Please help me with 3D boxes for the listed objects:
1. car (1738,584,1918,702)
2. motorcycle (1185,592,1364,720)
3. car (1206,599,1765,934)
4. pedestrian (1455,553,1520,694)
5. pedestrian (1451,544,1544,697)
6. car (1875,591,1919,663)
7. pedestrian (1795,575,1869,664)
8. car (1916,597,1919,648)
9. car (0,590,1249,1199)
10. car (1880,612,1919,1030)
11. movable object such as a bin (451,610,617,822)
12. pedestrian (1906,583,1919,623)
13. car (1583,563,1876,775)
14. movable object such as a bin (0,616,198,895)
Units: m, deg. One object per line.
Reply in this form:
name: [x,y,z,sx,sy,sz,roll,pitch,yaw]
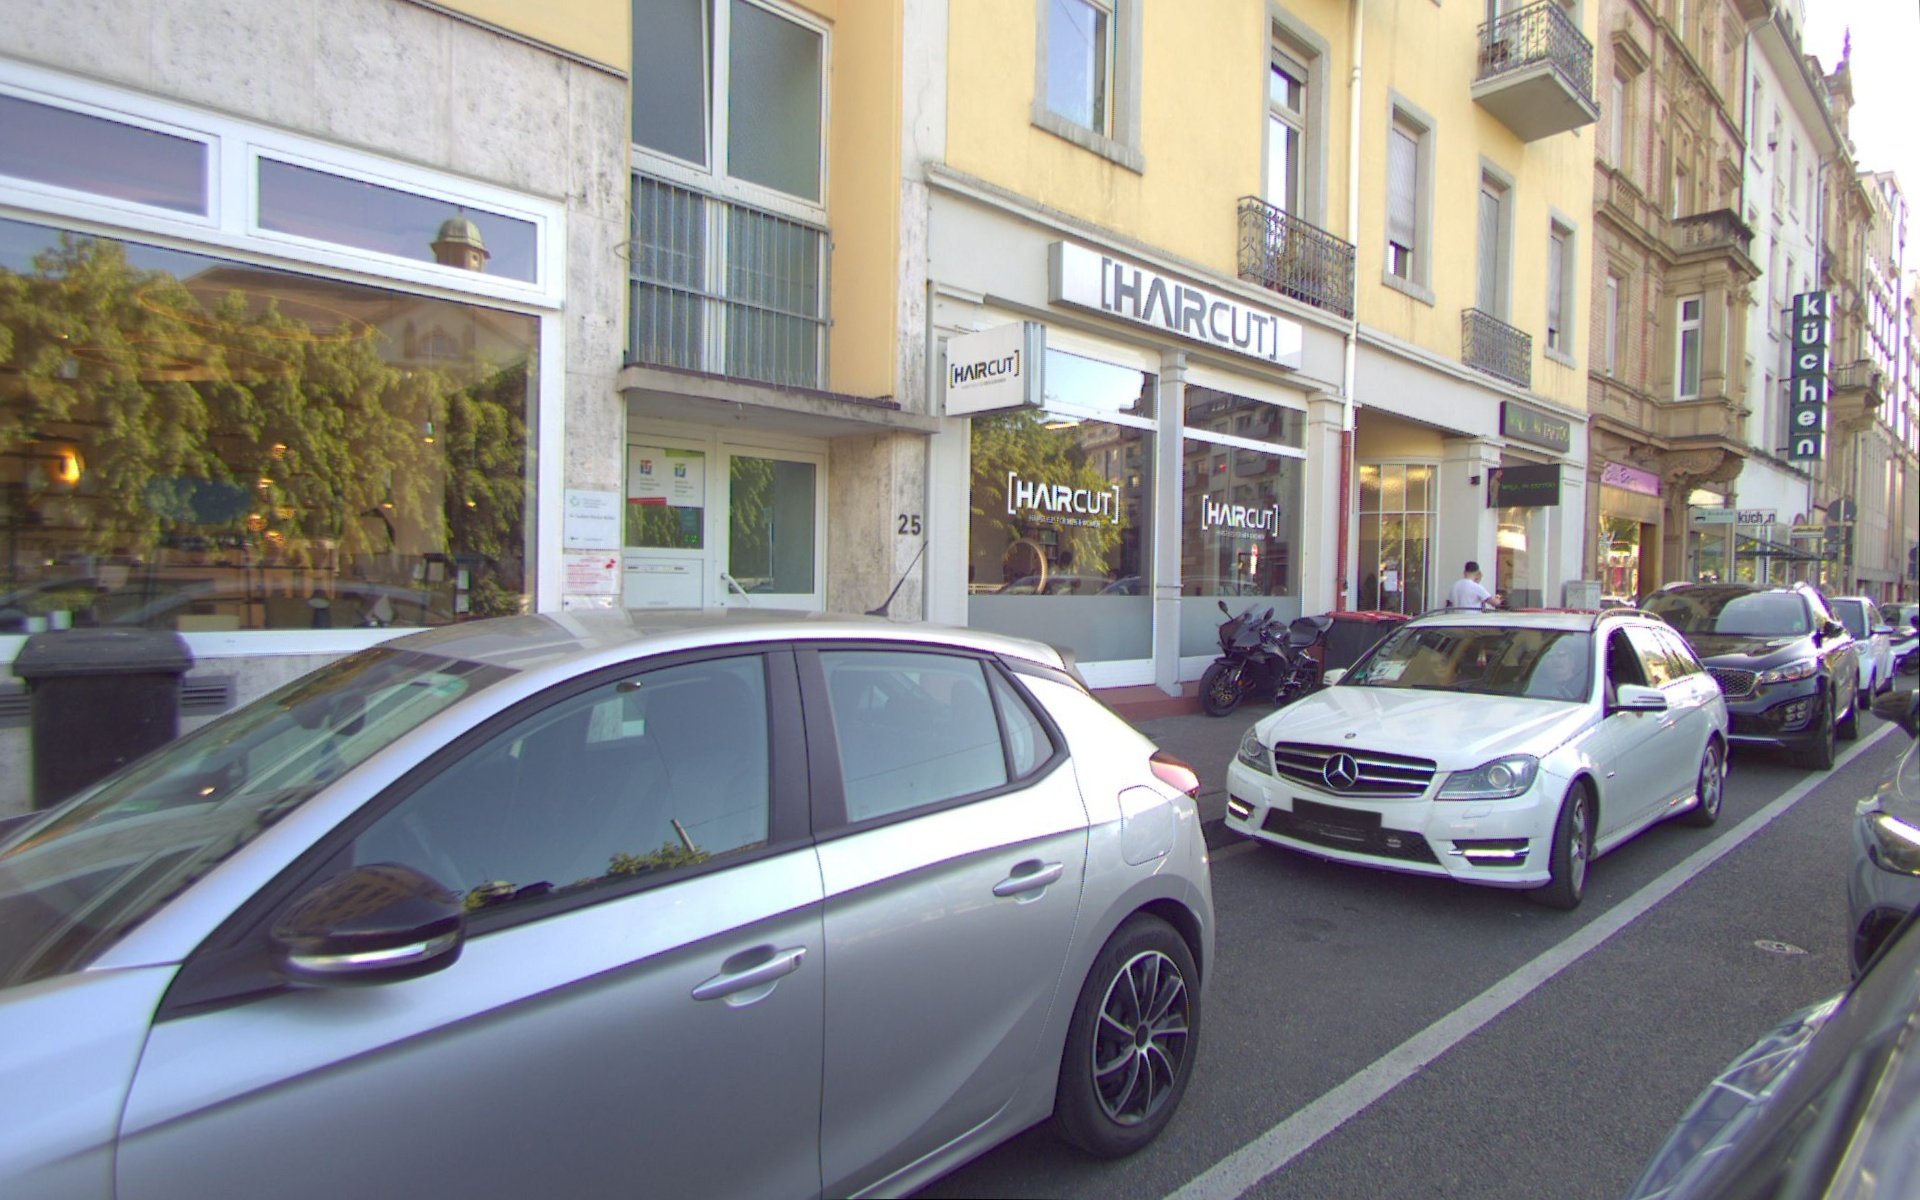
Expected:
car: [12.764,0.548,14.845,2.945,1.542,1.582,-1,0,-41]
motorcycle: [3.294,0.523,10.497,2.073,1.144,0.735,-1,5,-41]
car: [3.526,0.708,6.380,4.301,1.389,1.671,-1,0,-41]
pedestrian: [7.232,0.301,13.867,0.627,1.859,0.760,0,0,41]
pedestrian: [6.879,0.253,12.991,0.961,1.900,0.532,0,0,18]
car: [21.890,0.566,22.802,3.736,1.509,1.691,-1,0,-45]
pedestrian: [17.429,0.381,20.249,0.808,1.741,0.833,0,0,15]
car: [26.602,0.575,26.920,3.306,1.334,1.459,-1,0,-42]
car: [-1.013,0.715,2.300,3.625,1.455,1.585,-1,0,-43]
car: [5.390,0.750,4.369,4.397,1.385,1.767,-1,1,-43]
movable object such as a bin: [-2.334,0.581,5.530,0.639,1.036,0.737,0,0,-41]
pedestrian: [42.905,0.121,45.254,0.809,1.782,0.825,0,0,-42]
car: [8.002,0.531,10.359,4.338,1.711,1.802,-1,0,-45]
movable object such as a bin: [-3.681,0.599,4.316,0.639,1.036,0.737,0,0,-41]
